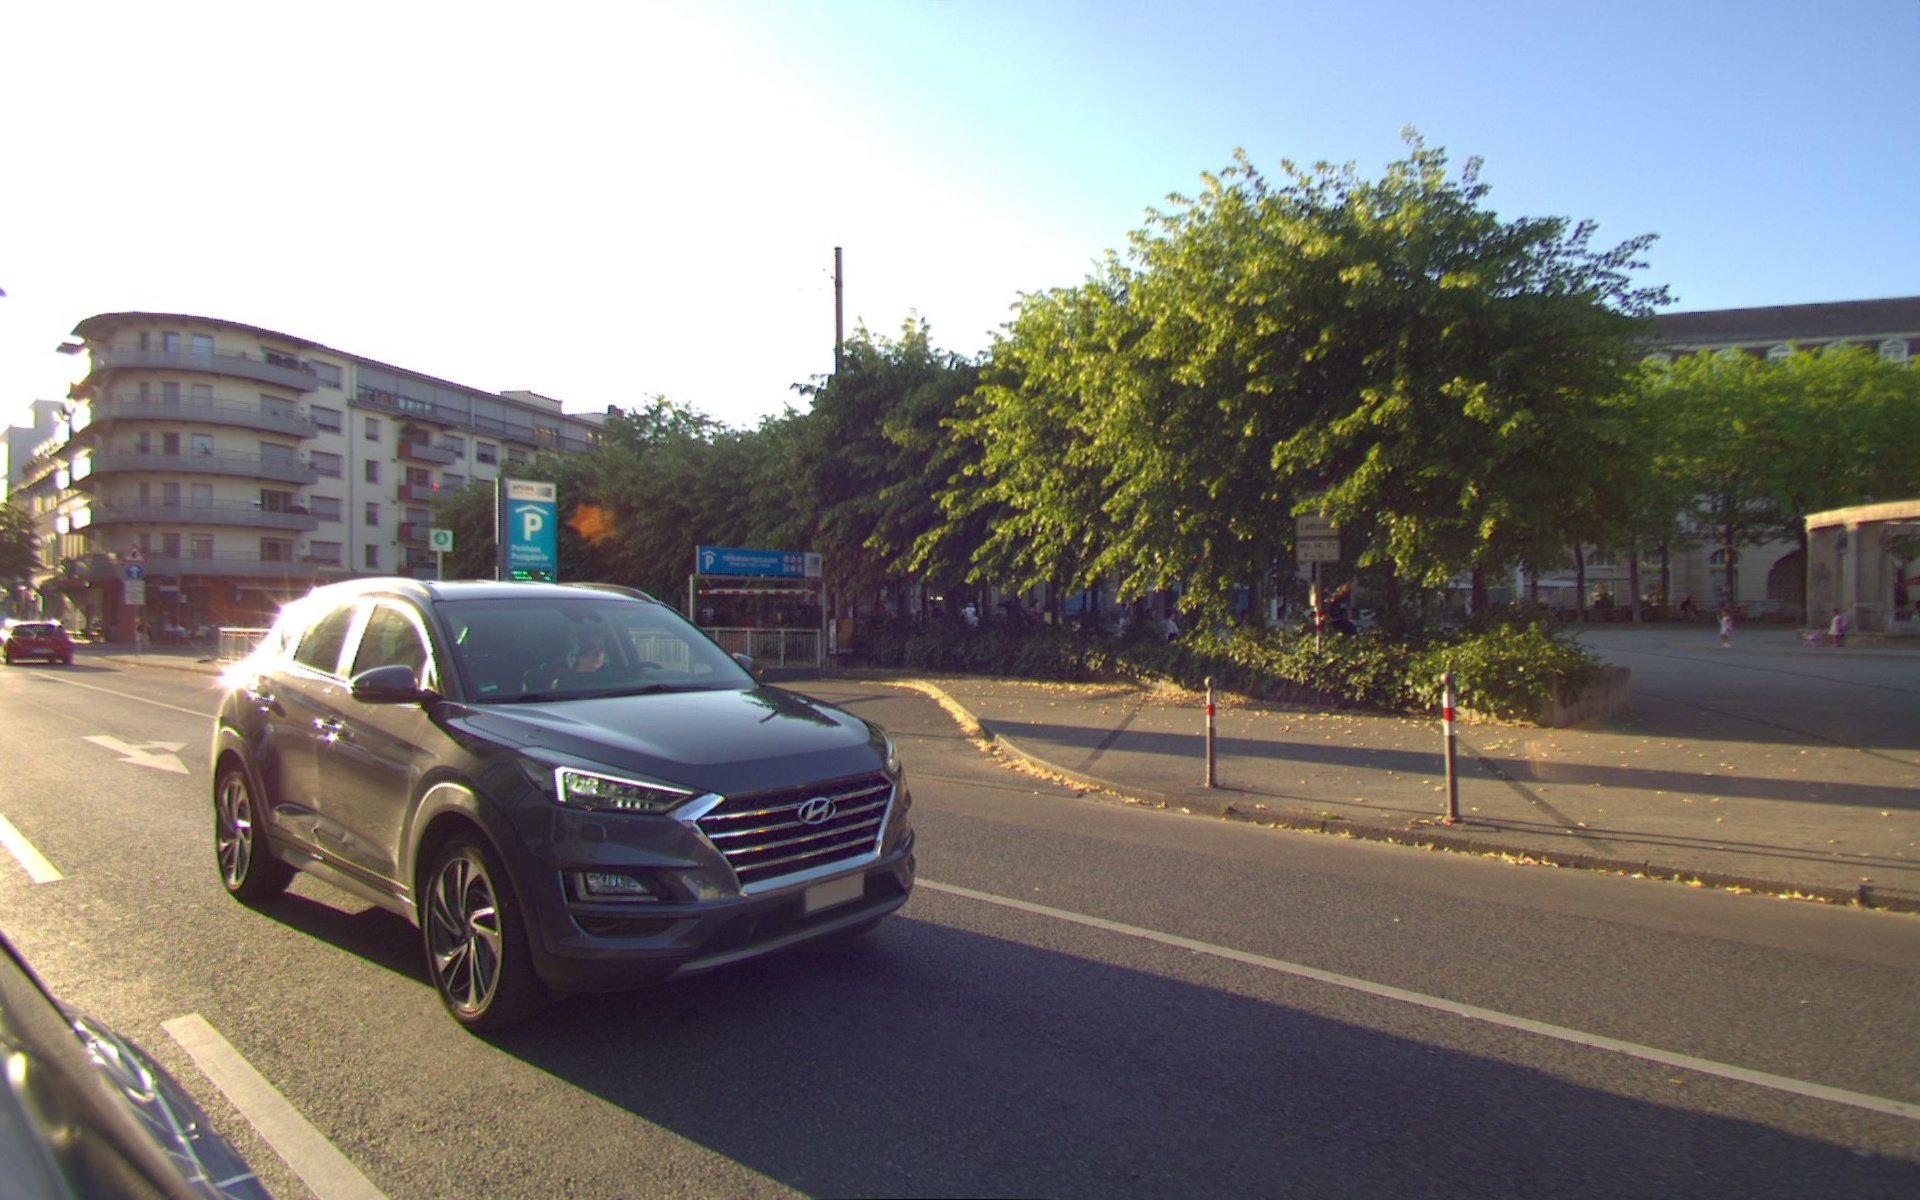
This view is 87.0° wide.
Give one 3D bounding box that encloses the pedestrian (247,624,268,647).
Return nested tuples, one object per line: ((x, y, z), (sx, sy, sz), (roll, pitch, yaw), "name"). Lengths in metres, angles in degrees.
((-41.196, 2.095, 59.366), (0.814, 1.332, 0.684), (-1, -1, 17), "pedestrian")

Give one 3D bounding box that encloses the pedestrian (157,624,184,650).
((-42.280, 1.984, 54.172), (0.726, 1.332, 0.885), (-1, -1, 14), "pedestrian")

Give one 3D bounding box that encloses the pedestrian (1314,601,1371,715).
((7.086, 1.049, 18.723), (0.852, 2.029, 0.898), (-1, -1, 28), "pedestrian")

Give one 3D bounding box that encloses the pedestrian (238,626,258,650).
((-40.675, 2.170, 57.778), (0.888, 1.332, 0.723), (-1, -1, 39), "pedestrian")

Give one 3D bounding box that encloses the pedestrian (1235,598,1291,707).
((5.793, 0.987, 19.347), (0.739, 2.029, 0.754), (-2, -1, 43), "pedestrian")

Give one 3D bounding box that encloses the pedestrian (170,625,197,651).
((-41.380, 2.015, 53.961), (0.725, 1.332, 0.886), (-1, -1, 10), "pedestrian")

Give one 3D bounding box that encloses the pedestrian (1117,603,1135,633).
((7.765, 0.842, 47.407), (0.651, 1.386, 0.656), (-1, -1, 27), "pedestrian")

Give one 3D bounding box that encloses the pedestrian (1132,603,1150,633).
((8.390, 0.837, 46.883), (0.651, 1.386, 0.515), (-1, -1, 27), "pedestrian")

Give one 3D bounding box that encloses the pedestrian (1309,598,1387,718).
((6.781, 0.984, 17.714), (0.890, 2.029, 0.859), (-1, -1, -22), "pedestrian")

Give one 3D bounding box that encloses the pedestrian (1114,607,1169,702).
((4.005, 1.173, 22.312), (0.890, 2.029, 0.742), (-1, -1, -25), "pedestrian")

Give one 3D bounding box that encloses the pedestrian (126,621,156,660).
((-33.146, 1.625, 40.958), (0.668, 1.529, 0.677), (-1, -1, -1), "pedestrian")

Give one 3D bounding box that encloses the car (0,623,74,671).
((-31.391, 1.531, 34.063), (3.954, 1.477, 1.767), (0, -1, 40), "car")

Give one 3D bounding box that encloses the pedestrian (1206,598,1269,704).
((5.489, 0.986, 20.030), (0.890, 2.029, 0.741), (-1, -1, -22), "pedestrian")

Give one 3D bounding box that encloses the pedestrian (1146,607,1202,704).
((4.597, 1.168, 21.747), (0.890, 2.029, 0.741), (-1, -1, -22), "pedestrian")

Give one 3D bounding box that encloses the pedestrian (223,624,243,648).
((-41.136, 2.018, 57.275), (0.888, 1.332, 0.723), (-1, -1, 40), "pedestrian")

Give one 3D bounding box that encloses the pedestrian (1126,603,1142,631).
((8.558, 0.834, 49.716), (0.651, 1.386, 0.515), (-1, -1, 27), "pedestrian")

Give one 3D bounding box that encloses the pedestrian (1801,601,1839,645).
((21.947, 0.586, 25.821), (0.454, 1.071, 0.531), (-3, -1, -20), "pedestrian")

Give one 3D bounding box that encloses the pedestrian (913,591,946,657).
((-0.951, 0.748, 31.580), (0.733, 2.029, 0.901), (-1, -1, 18), "pedestrian")

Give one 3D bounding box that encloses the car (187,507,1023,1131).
((-2.023, 0.654, 4.931), (4.446, 1.702, 1.853), (-1, -2, 40), "car")

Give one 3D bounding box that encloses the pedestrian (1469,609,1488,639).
((19.161, 0.874, 37.399), (0.529, 1.071, 0.457), (-4, -1, 35), "pedestrian")

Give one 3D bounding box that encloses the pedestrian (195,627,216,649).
((-41.391, 2.085, 55.527), (0.875, 1.201, 0.734), (0, -1, -39), "pedestrian")

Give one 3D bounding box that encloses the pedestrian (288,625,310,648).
((-39.729, 2.199, 60.837), (0.884, 1.332, 0.726), (-1, -1, 26), "pedestrian")

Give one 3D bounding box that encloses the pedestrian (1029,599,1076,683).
((2.291, 0.997, 25.087), (0.890, 2.029, 0.741), (-1, -1, -22), "pedestrian")

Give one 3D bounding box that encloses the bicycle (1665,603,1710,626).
((42.215, 0.834, 58.753), (2.013, 1.270, 0.577), (-1, 0, 18), "bicycle")

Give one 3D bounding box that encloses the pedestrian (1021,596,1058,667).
((2.325, 0.915, 29.401), (0.736, 2.029, 0.897), (-1, -1, 30), "pedestrian")

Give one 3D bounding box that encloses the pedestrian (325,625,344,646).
((-39.541, 2.239, 63.976), (0.721, 1.332, 0.891), (-1, -1, -10), "pedestrian")

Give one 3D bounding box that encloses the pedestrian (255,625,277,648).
((-40.142, 2.099, 58.515), (0.885, 1.332, 0.726), (-1, -1, 28), "pedestrian")

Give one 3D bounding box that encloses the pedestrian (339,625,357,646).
((-38.710, 2.237, 63.994), (0.721, 1.332, 0.891), (-1, -1, -10), "pedestrian")

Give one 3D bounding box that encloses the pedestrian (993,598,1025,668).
((1.461, 0.972, 30.039), (0.733, 2.029, 0.901), (-1, -1, 18), "pedestrian")

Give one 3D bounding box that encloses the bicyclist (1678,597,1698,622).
((42.238, 0.550, 58.749), (0.764, 1.459, 0.637), (-1, 0, 18), "bicyclist")

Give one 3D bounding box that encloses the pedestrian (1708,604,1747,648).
((19.227, 0.652, 25.355), (0.454, 1.071, 0.589), (-3, -1, -20), "pedestrian")

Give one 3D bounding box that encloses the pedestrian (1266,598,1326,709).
((6.326, 0.981, 19.053), (0.739, 2.029, 0.866), (-2, -1, 43), "pedestrian")
